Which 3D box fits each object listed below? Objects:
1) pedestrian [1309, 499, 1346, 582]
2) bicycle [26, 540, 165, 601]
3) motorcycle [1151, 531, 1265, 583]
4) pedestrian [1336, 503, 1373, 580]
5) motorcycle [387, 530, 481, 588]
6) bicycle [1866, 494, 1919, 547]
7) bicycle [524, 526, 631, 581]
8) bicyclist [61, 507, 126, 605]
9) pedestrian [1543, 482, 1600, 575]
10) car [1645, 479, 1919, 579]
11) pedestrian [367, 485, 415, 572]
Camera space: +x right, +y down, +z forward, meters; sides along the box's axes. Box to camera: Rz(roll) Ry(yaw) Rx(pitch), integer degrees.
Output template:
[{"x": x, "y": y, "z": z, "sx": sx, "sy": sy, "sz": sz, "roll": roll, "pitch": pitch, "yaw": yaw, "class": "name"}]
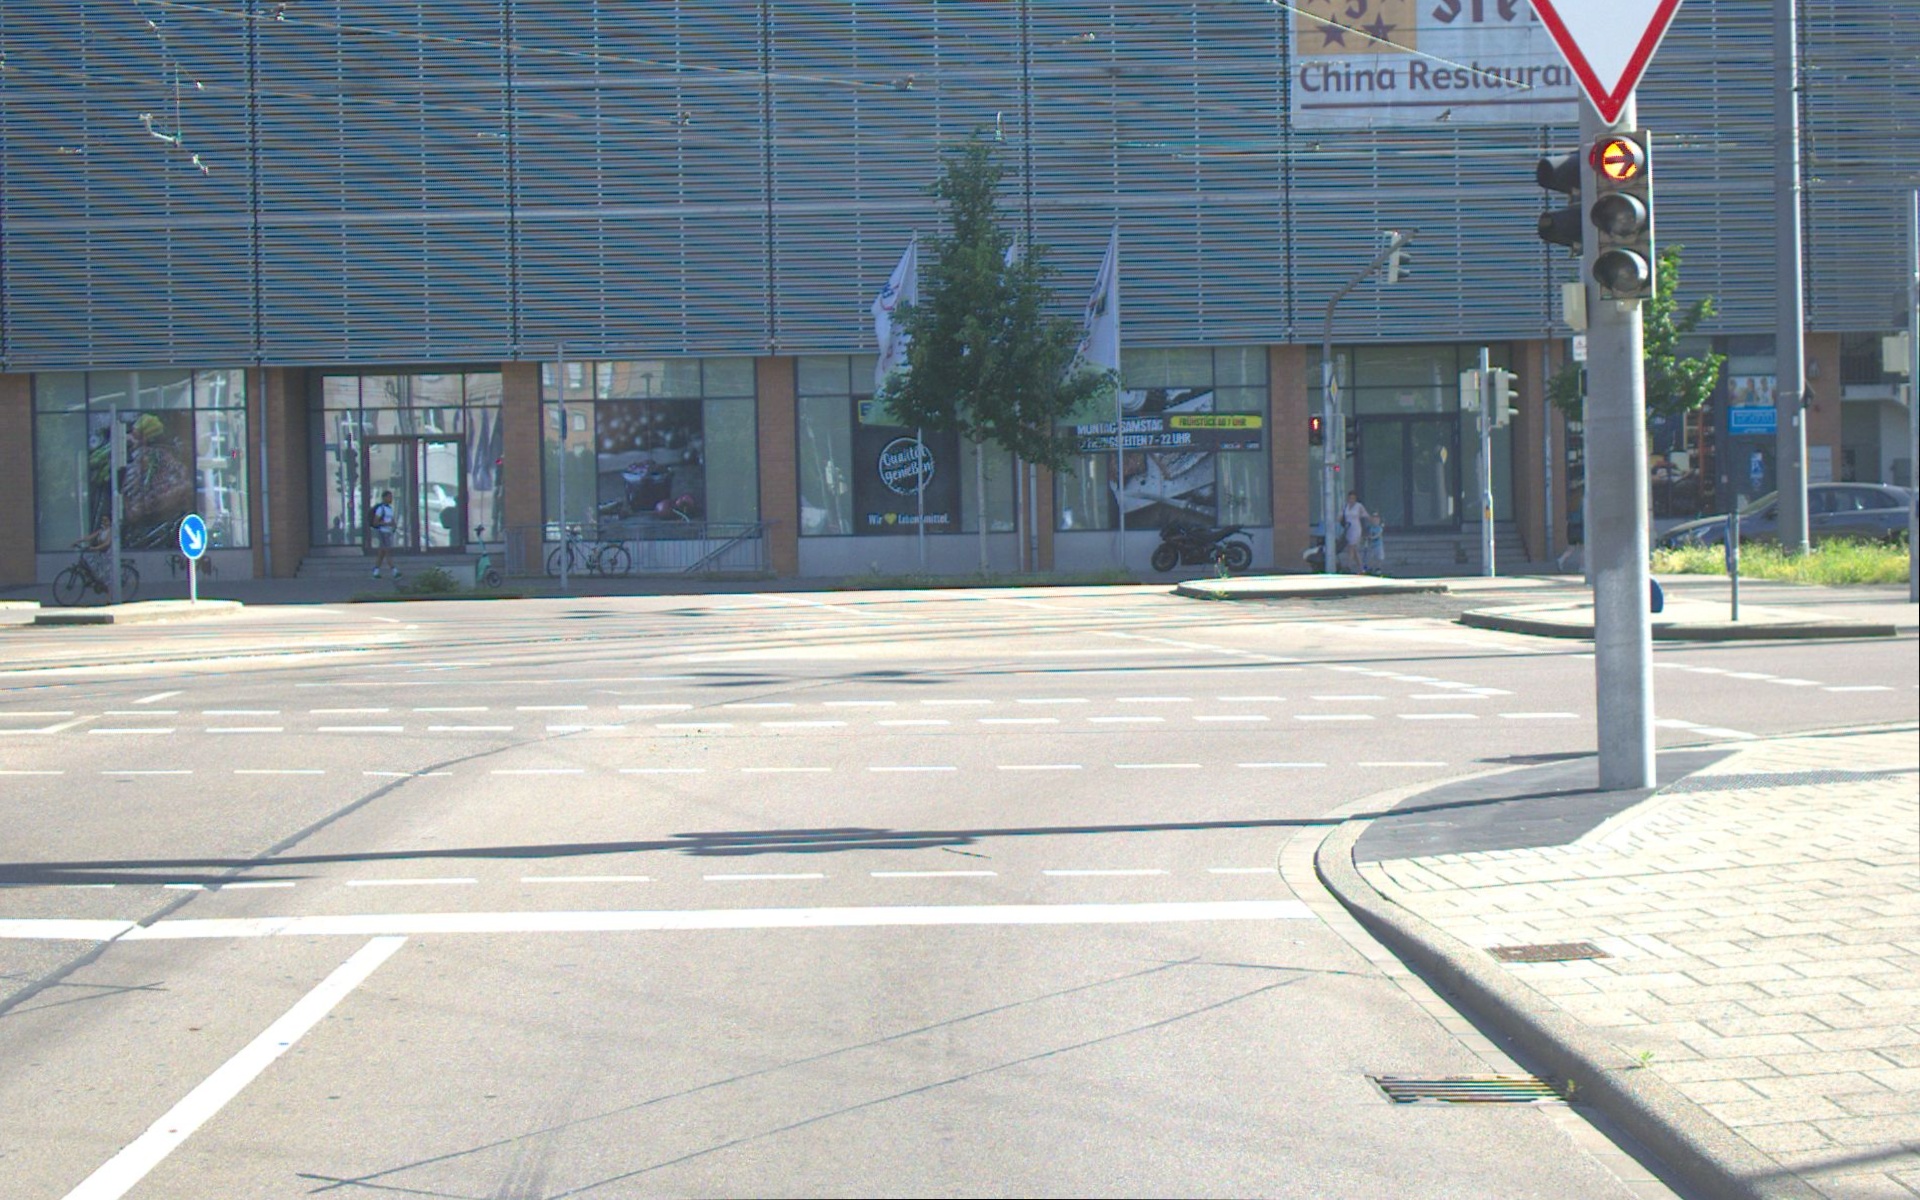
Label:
[{"x": 6.898, "y": -1.122, "z": 64.591, "sx": 0.589, "sy": 1.529, "sz": 0.658, "roll": -1, "pitch": 1, "yaw": -1, "class": "pedestrian"}, {"x": -15.956, "y": -0.554, "z": 63.485, "sx": 2.239, "sy": 1.067, "sz": 1.046, "roll": -2, "pitch": 2, "yaw": -41, "class": "bicycle"}, {"x": 4.995, "y": -0.875, "z": 69.427, "sx": 2.202, "sy": 1.039, "sz": 1.061, "roll": 0, "pitch": 2, "yaw": -1, "class": "motorcycle"}, {"x": 7.499, "y": -1.112, "z": 65.362, "sx": 0.589, "sy": 1.457, "sz": 0.658, "roll": -1, "pitch": 1, "yaw": -1, "class": "pedestrian"}, {"x": -9.841, "y": -0.766, "z": 64.315, "sx": 1.652, "sy": 1.055, "sz": 0.497, "roll": -1, "pitch": 1, "yaw": 9, "class": "motorcycle"}, {"x": 20.338, "y": -1.624, "z": 70.294, "sx": 3.361, "sy": 1.073, "sz": 1.116, "roll": 0, "pitch": 2, "yaw": 5, "class": "bicycle"}, {"x": -7.698, "y": -0.947, "z": 69.238, "sx": 2.026, "sy": 1.055, "sz": 1.145, "roll": -1, "pitch": 1, "yaw": -1, "class": "bicycle"}, {"x": -15.966, "y": -0.814, "z": 63.374, "sx": 0.843, "sy": 1.797, "sz": 0.816, "roll": -2, "pitch": 2, "yaw": -42, "class": "bicyclist"}, {"x": 11.573, "y": -1.359, "z": 65.073, "sx": 0.853, "sy": 1.732, "sz": 0.754, "roll": -1, "pitch": 1, "yaw": -7, "class": "pedestrian"}, {"x": 13.261, "y": -1.137, "z": 54.493, "sx": 4.487, "sy": 1.489, "sz": 1.495, "roll": -1, "pitch": 1, "yaw": -1, "class": "car"}, {"x": -11.552, "y": -1.454, "z": 69.771, "sx": 0.848, "sy": 1.757, "sz": 0.620, "roll": -1, "pitch": 1, "yaw": -2, "class": "pedestrian"}]
